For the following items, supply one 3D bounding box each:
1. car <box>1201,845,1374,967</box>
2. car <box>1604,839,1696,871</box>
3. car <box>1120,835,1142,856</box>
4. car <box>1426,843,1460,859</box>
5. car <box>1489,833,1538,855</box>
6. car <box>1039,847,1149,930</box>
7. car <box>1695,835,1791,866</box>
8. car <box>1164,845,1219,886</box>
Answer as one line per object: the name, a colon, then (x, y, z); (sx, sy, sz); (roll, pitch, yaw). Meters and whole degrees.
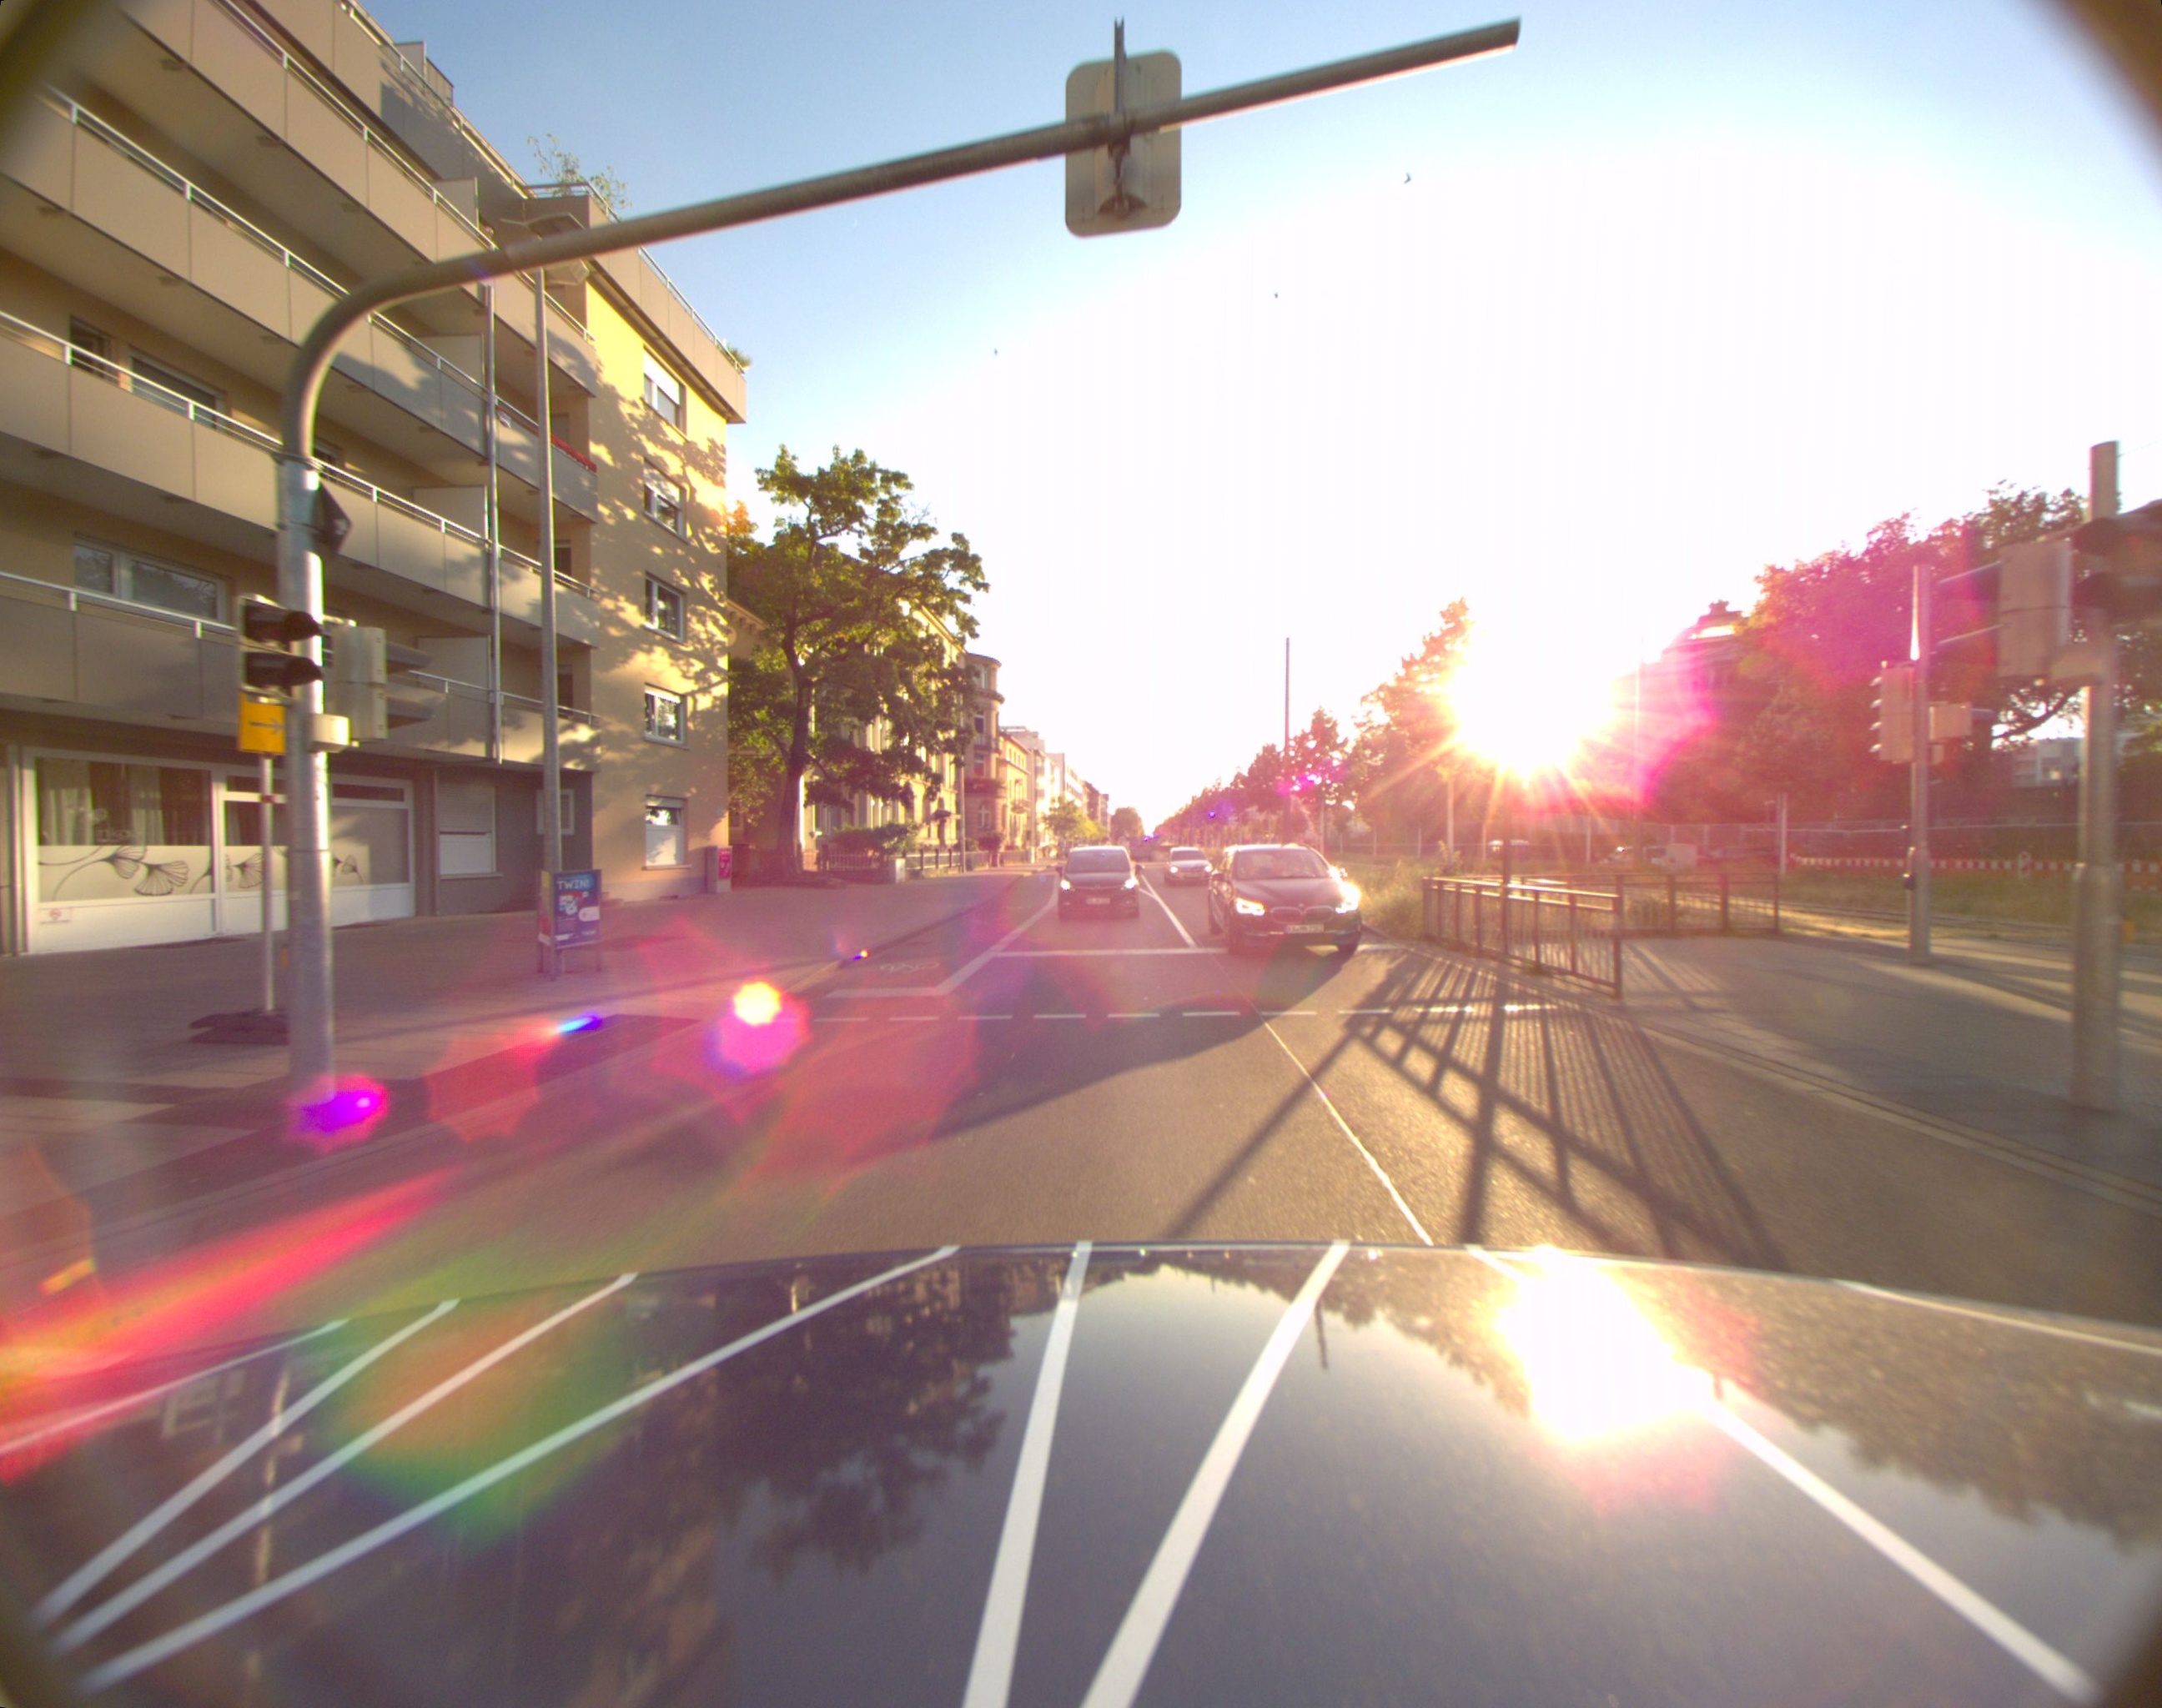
car: (3.040, 0.653, 12.193); (1.824, 1.510, 4.792); (-2, 1, 5)
car: (26.864, 0.022, 36.012); (1.770, 1.362, 3.719); (-2, 1, 5)
car: (4.643, -0.792, 71.091); (1.727, 1.910, 4.294); (-2, 1, 1)
car: (33.139, -0.305, 69.678); (1.611, 1.331, 3.567); (-2, 1, 4)
car: (33.503, -0.796, 59.007); (1.848, 1.551, 3.800); (-2, 1, 4)
car: (0.436, 0.697, 17.607); (1.826, 1.589, 4.369); (-2, 1, 10)
car: (31.700, -0.186, 36.533); (1.695, 1.362, 3.695); (-2, 1, 7)
car: (4.436, 0.422, 31.072); (1.832, 1.455, 4.303); (-2, 1, 4)
